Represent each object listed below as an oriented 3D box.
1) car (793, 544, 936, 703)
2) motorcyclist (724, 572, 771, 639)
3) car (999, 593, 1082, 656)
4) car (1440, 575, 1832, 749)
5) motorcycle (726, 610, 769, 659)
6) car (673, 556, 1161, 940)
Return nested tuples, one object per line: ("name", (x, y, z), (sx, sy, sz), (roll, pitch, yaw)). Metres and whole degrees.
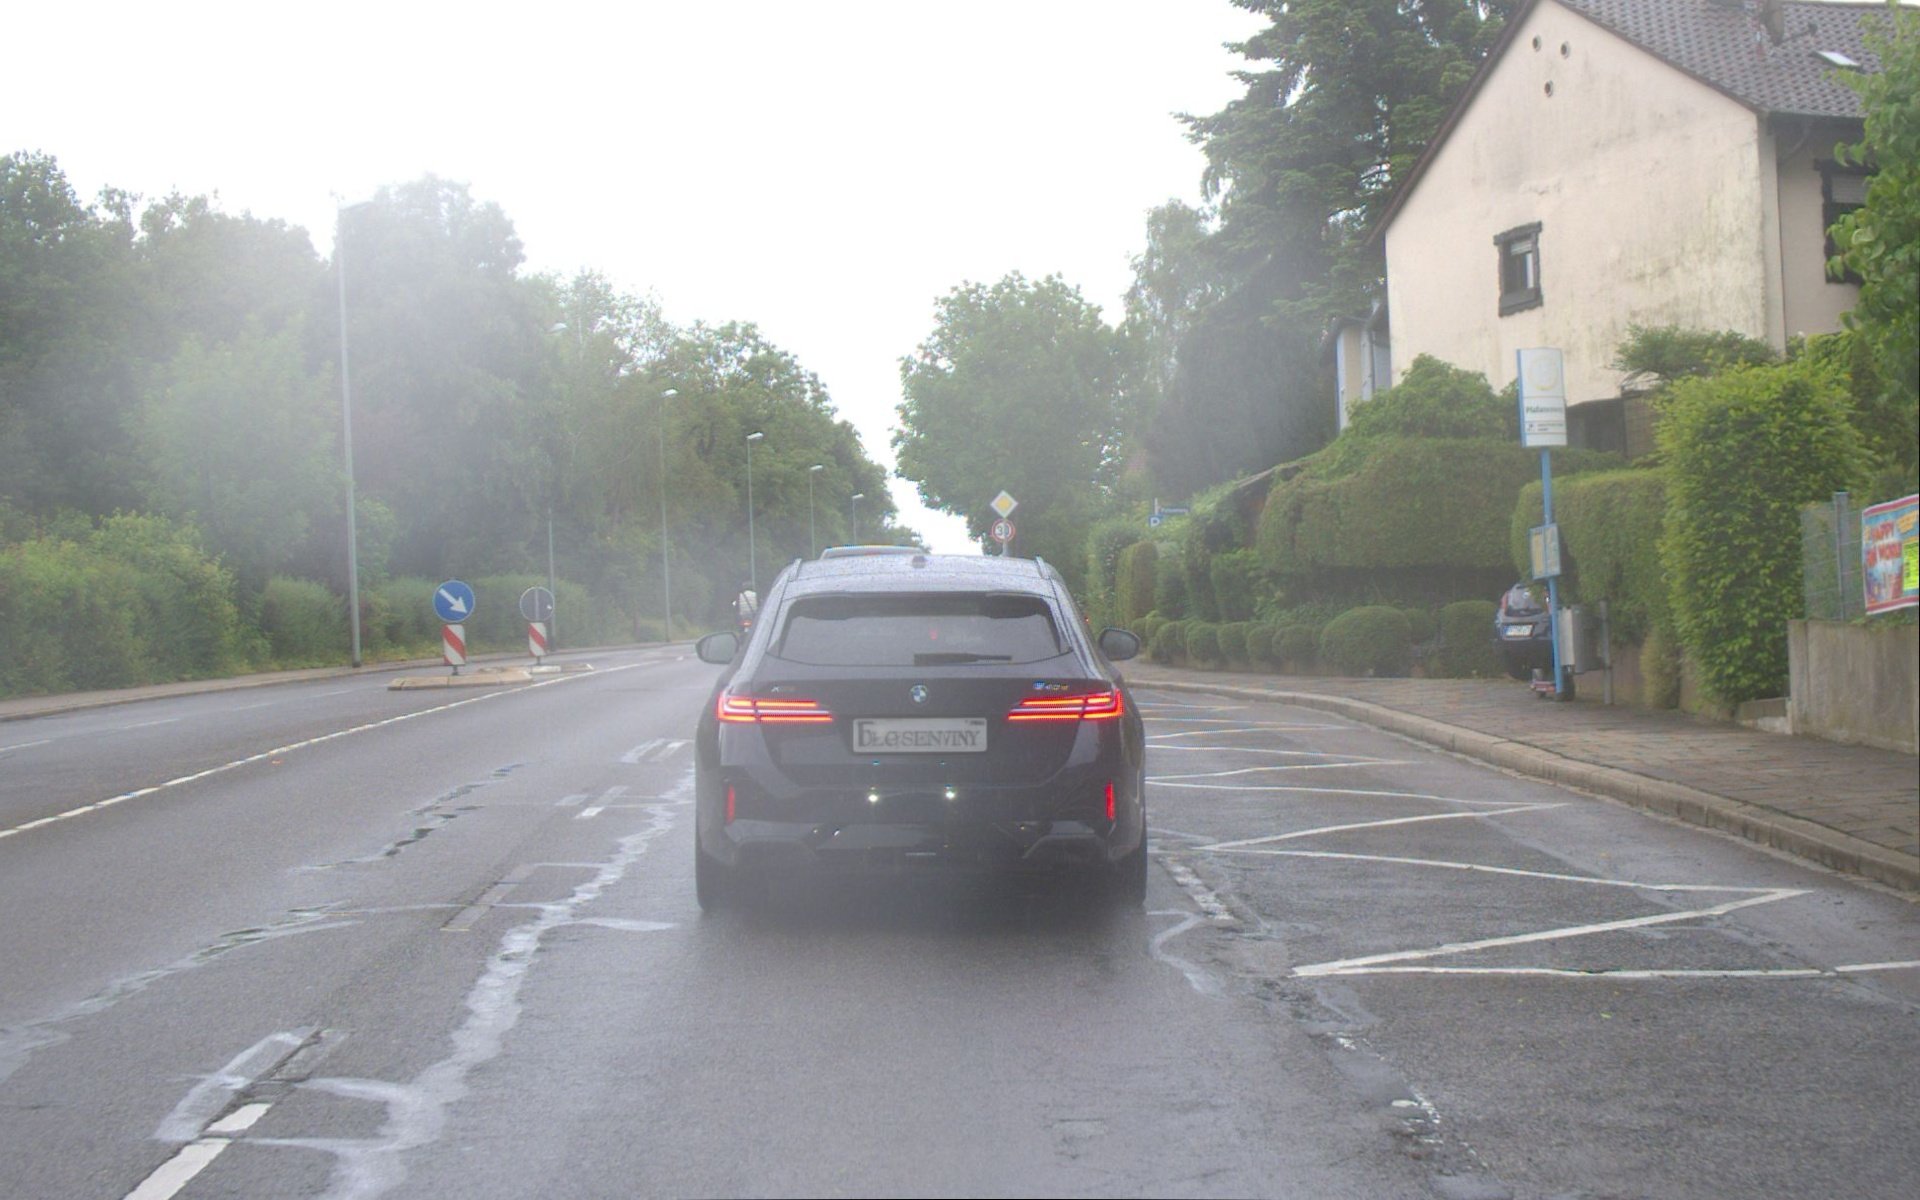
("car", (-1.170, 0.265, 42.872), (1.629, 1.827, 4.000), (-2, 0, -1))
("motorcyclist", (-4.978, 0.131, 80.563), (1.039, 1.562, 0.855), (0, -1, -1))
("car", (1.988, 0.583, 84.788), (1.935, 1.437, 4.408), (-2, 0, 1))
("car", (7.360, 0.699, 37.468), (3.695, 1.294, 1.773), (10, -5, -21))
("motorcycle", (-4.963, 0.799, 80.525), (0.876, 1.120, 2.741), (0, 0, -1))
("car", (-0.168, 0.578, 15.435), (1.897, 1.484, 4.000), (0, 0, 0))
